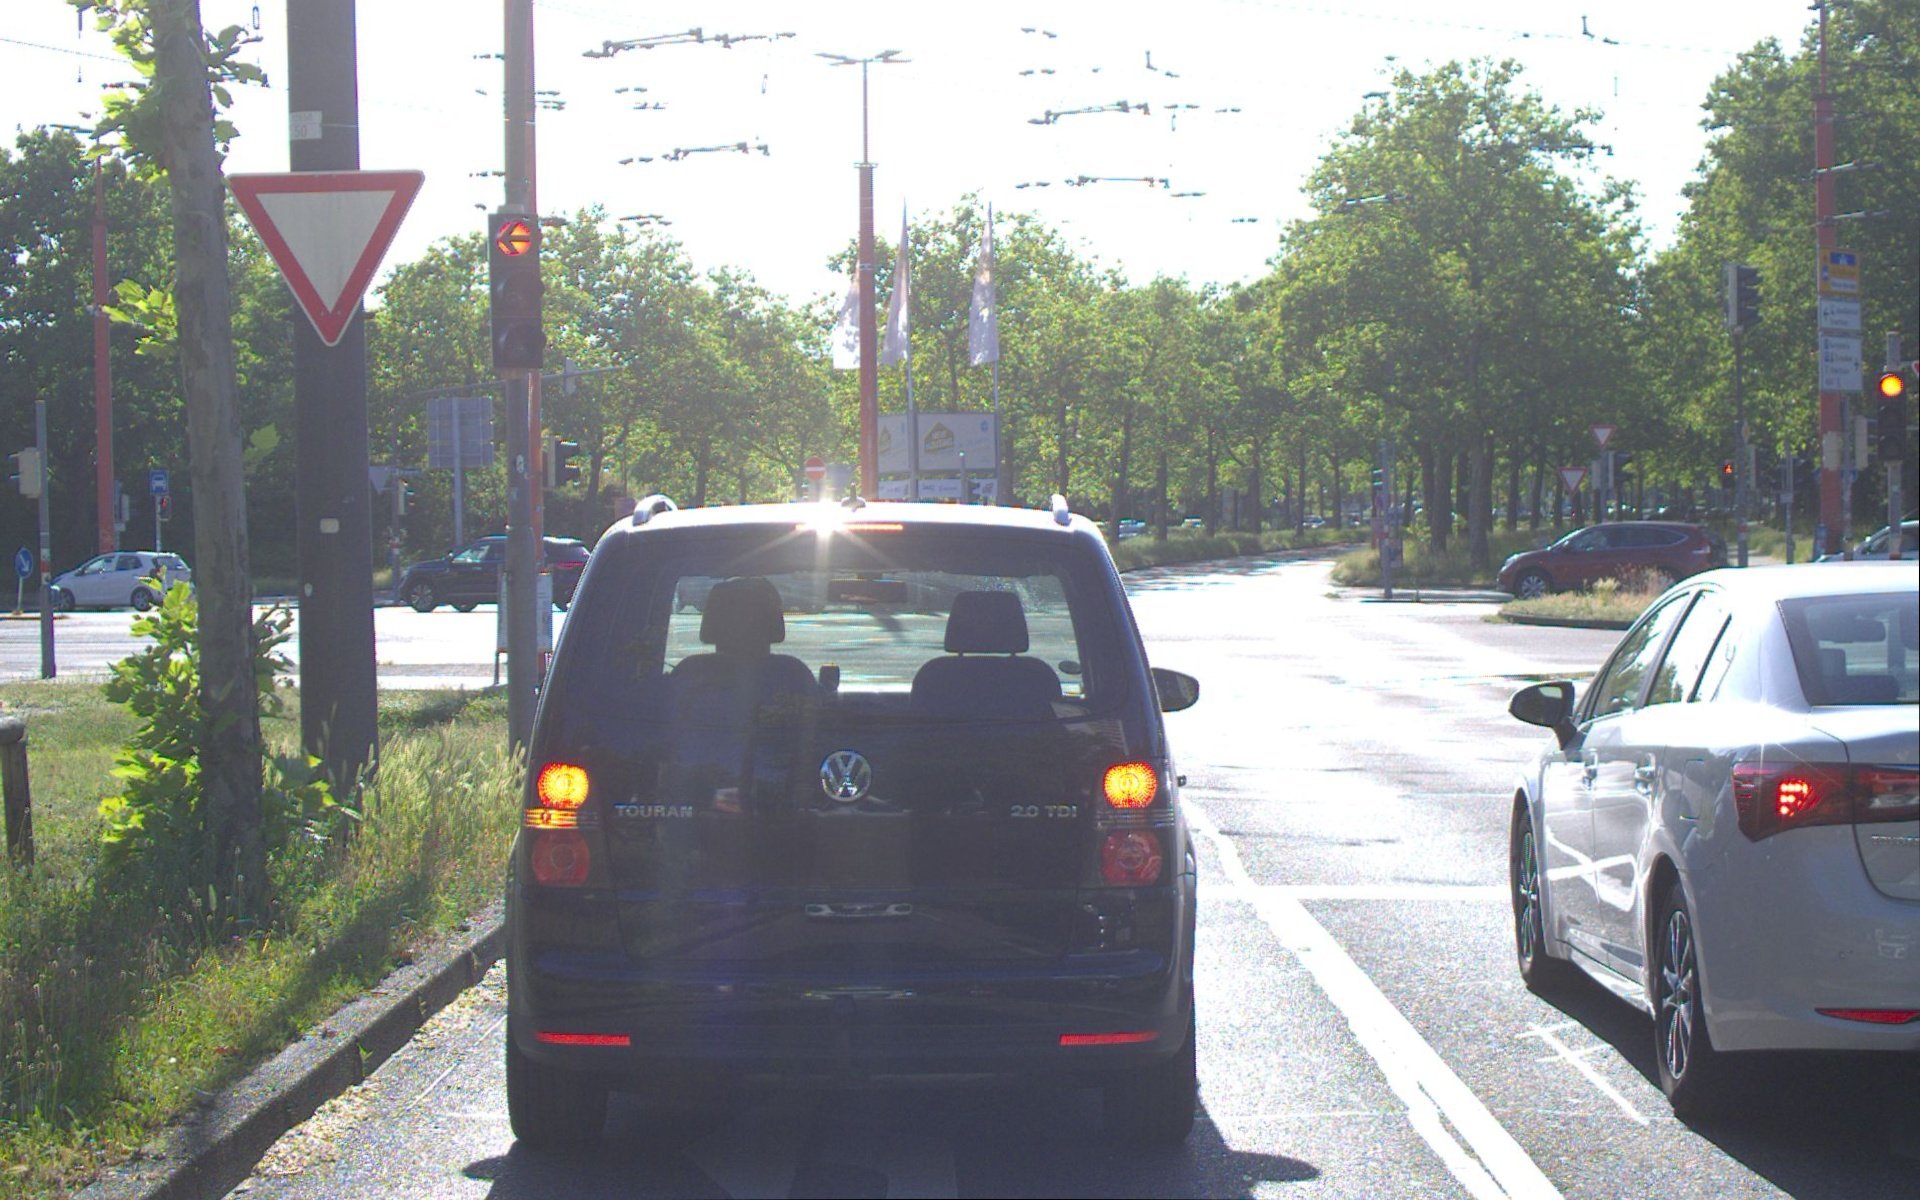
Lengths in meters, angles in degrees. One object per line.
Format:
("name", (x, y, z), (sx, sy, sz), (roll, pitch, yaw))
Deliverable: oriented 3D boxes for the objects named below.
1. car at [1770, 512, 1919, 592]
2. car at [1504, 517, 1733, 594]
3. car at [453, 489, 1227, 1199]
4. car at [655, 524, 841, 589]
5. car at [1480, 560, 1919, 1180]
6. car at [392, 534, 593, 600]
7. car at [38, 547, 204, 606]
("car", (16.764, -0.863, 61.534), (4.125, 1.398, 1.654), (1, 1, 27))
("car", (12.897, -0.893, 67.374), (4.125, 1.466, 1.654), (1, 1, 27))
("car", (-0.255, 0.536, 9.972), (1.738, 1.597, 4.326), (1, 1, 1))
("car", (-4.704, -0.982, 76.337), (3.796, 1.398, 1.655), (1, 1, 22))
("car", (2.755, 0.617, 10.151), (1.799, 1.435, 4.326), (1, 1, 1))
("car", (-10.238, -0.743, 75.274), (4.124, 1.398, 1.655), (1, 1, 23))
("car", (-20.654, -0.585, 84.577), (3.797, 1.398, 1.654), (1, 1, 26))
